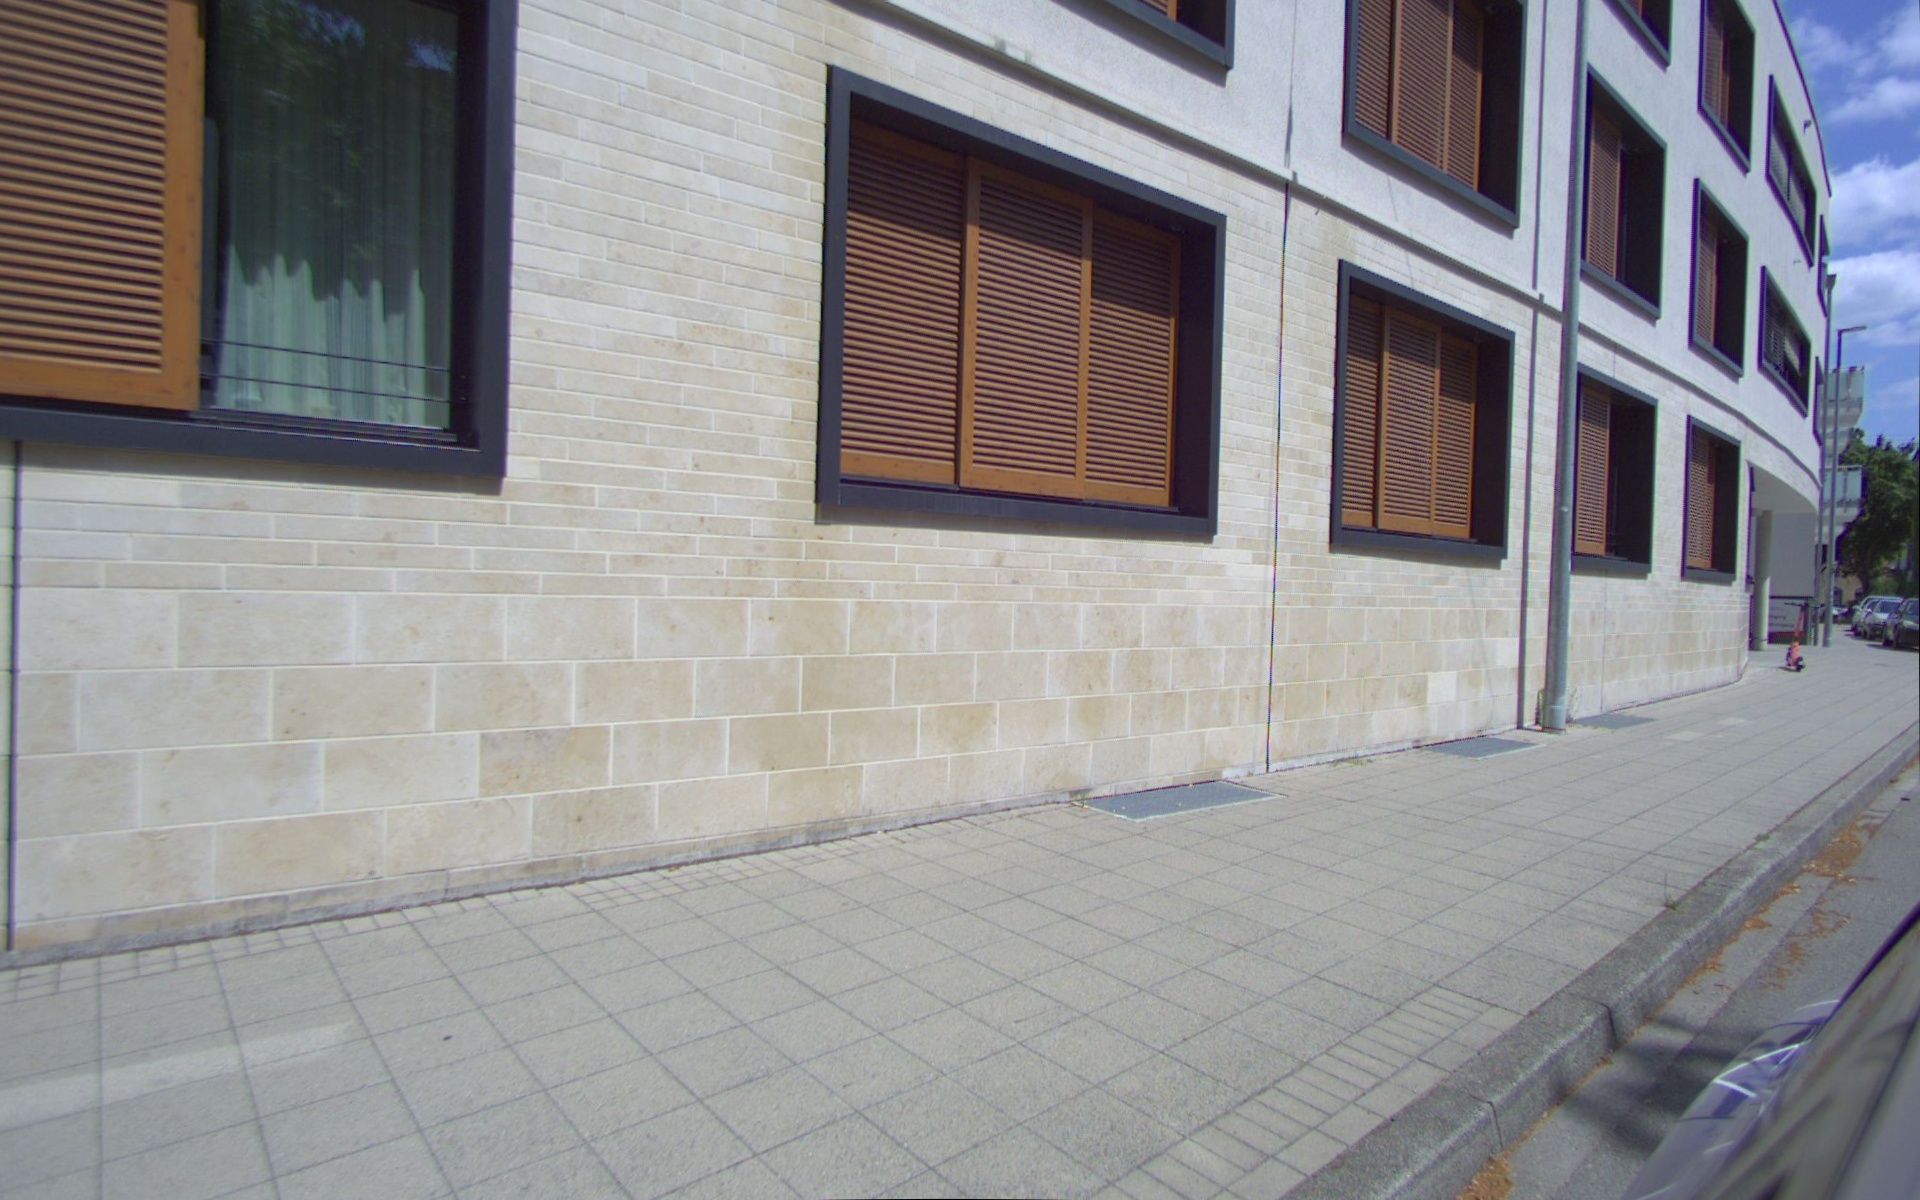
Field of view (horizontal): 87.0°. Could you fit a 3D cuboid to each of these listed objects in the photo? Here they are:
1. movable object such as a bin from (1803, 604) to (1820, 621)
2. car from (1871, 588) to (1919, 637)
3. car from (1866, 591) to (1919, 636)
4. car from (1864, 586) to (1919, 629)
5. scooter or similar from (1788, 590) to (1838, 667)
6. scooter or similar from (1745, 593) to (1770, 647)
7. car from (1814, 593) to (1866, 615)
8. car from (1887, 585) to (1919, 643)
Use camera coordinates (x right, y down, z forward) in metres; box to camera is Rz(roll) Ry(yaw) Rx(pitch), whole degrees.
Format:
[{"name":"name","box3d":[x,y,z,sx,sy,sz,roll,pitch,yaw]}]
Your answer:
[{"name":"movable object such as a bin","box3d":[48.638,0.720,57.809,0.622,0.973,0.618,0,1,-34]},{"name":"car","box3d":[31.666,0.409,33.753,1.591,1.450,3.654,7,5,39]},{"name":"car","box3d":[34.828,0.468,37.454,1.728,1.450,3.979,7,5,43]},{"name":"car","box3d":[39.946,0.294,43.164,3.737,1.630,1.729,-1,4,-44]},{"name":"scooter or similar","box3d":[15.023,0.478,17.838,0.581,1.276,1.348,4,3,39]},{"name":"scooter or similar","box3d":[18.750,0.461,23.805,0.421,1.226,1.297,2,1,37]},{"name":"car","box3d":[81.039,0.361,93.269,1.748,1.633,3.863,7,3,12]},{"name":"car","box3d":[27.547,0.413,28.353,1.797,1.527,4.487,6,5,37]}]
